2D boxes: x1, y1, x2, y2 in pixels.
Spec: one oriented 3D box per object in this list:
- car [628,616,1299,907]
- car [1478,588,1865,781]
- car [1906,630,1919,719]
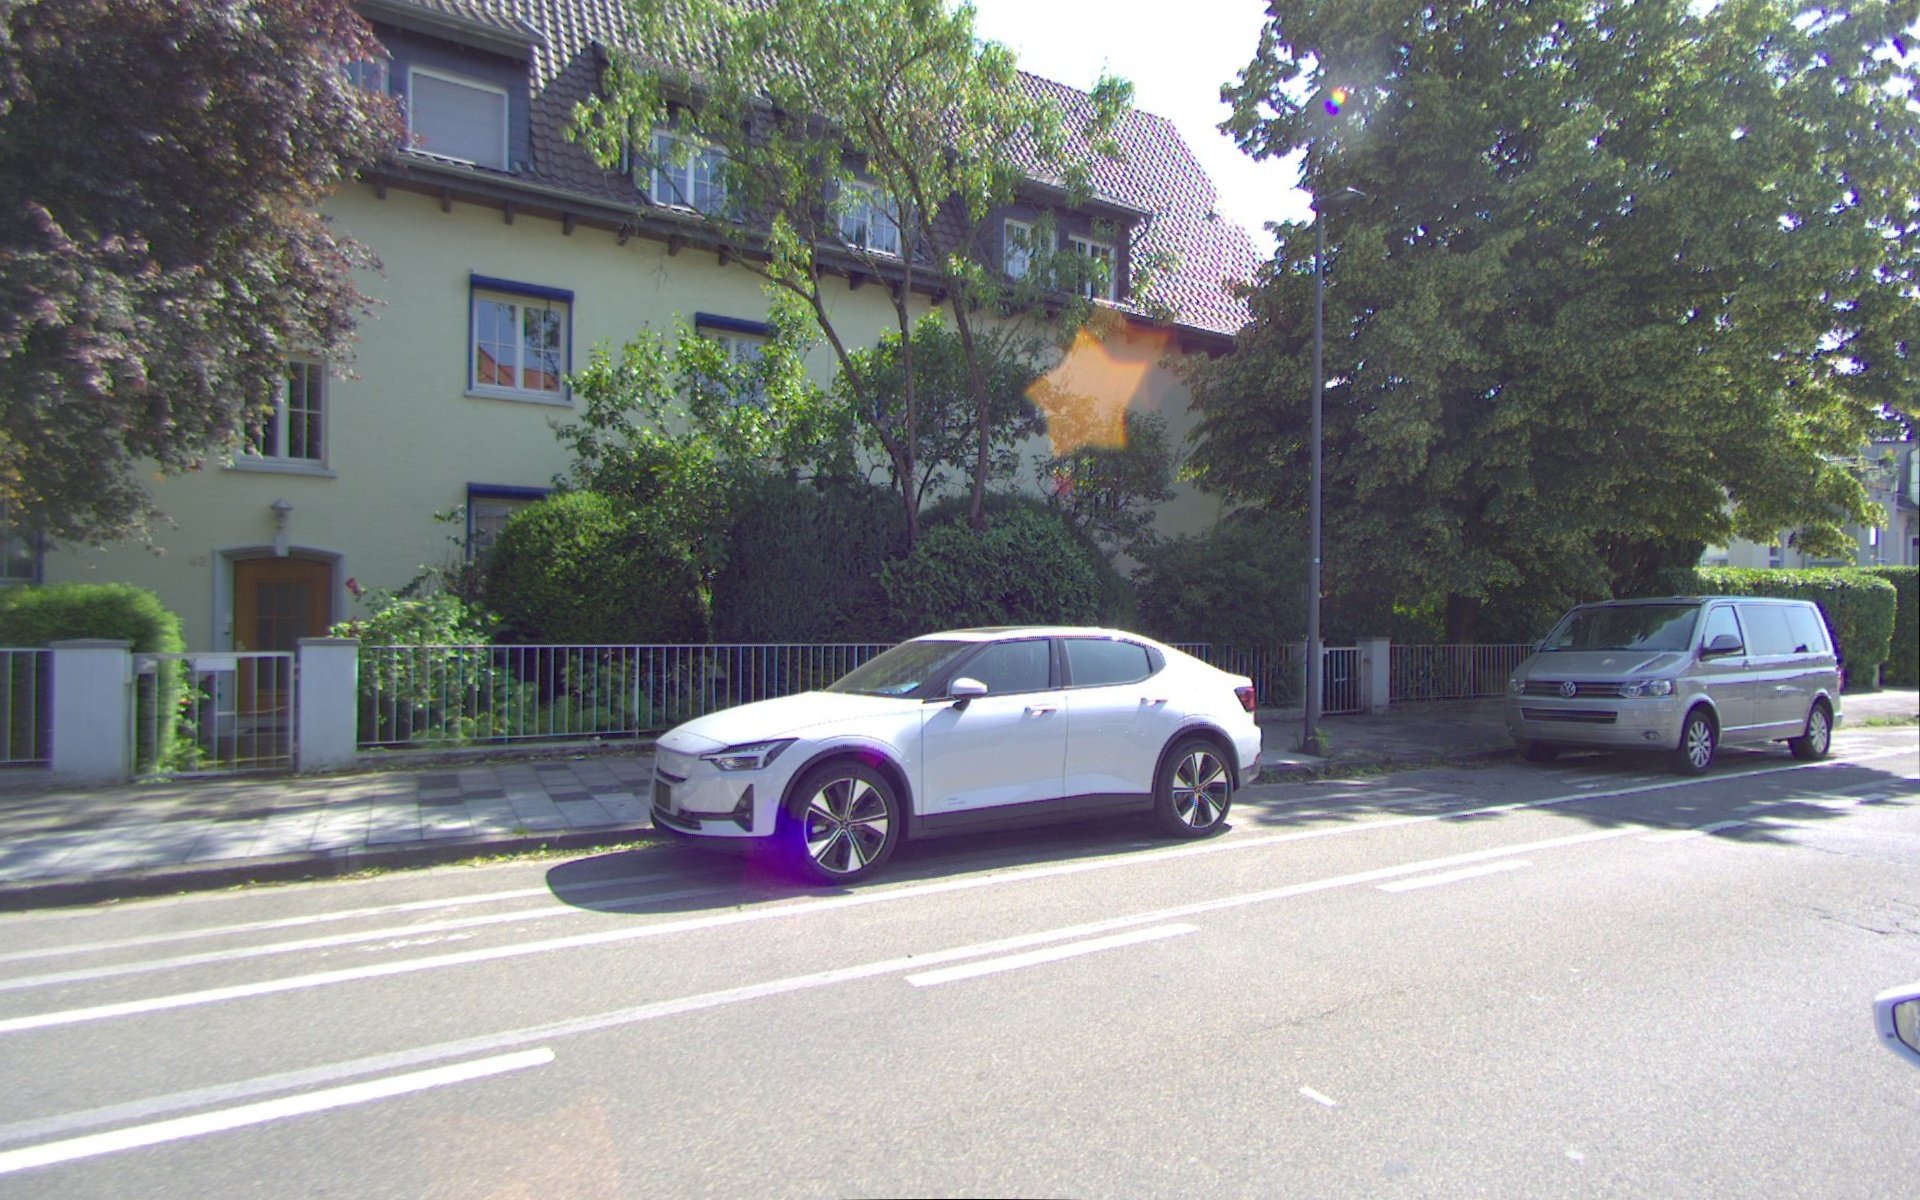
[{"bbox_3d":[0.139,0.926,7.180,4.509,1.505,1.825,1,-4,-31],"label":"car"},{"bbox_3d":[8.645,0.932,12.123,4.808,1.945,1.877,1,-3,-29],"label":"car"},{"bbox_3d":[19.907,1.368,18.922,4.396,1.631,1.843,2,-4,-30],"label":"car"}]
